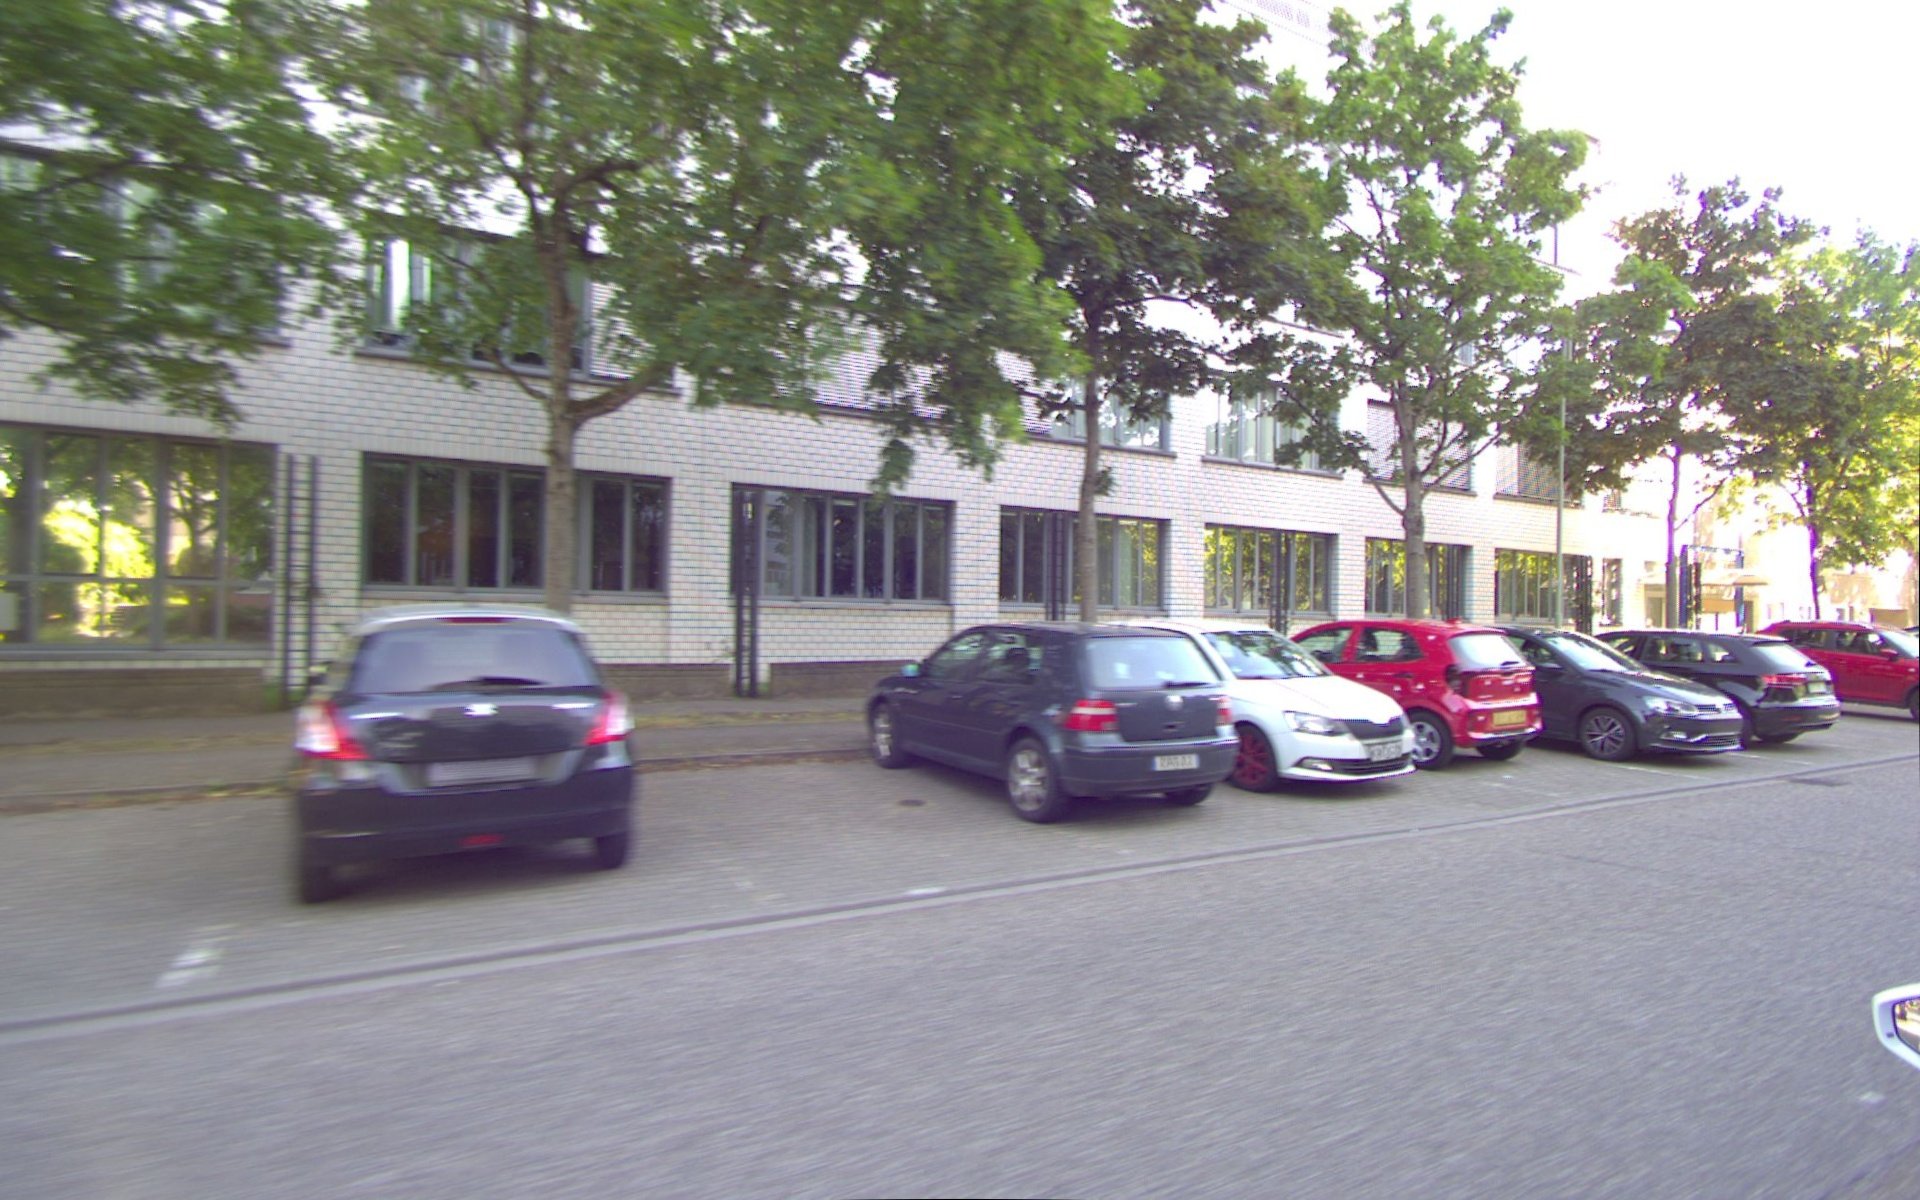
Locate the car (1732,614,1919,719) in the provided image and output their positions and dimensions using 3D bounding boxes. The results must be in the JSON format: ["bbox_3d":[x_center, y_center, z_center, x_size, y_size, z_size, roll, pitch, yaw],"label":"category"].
[{"bbox_3d":[15.780,1.112,17.333,1.739,1.679,3.527,2,-2,-27],"label":"car"}]

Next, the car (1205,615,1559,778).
[{"bbox_3d":[4.686,0.958,11.548,1.679,1.483,3.397,0,1,-34],"label":"car"}]

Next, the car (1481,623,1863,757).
[{"bbox_3d":[9.539,1.103,13.801,1.587,1.425,3.966,2,0,-31],"label":"car"}]

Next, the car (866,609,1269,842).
[{"bbox_3d":[0.681,0.868,8.693,1.611,1.464,3.746,2,0,-28],"label":"car"}]

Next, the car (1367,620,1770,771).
[{"bbox_3d":[7.272,1.035,12.430,1.646,1.431,3.967,2,0,-30],"label":"car"}]

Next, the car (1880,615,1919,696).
[{"bbox_3d":[22.106,1.213,20.972,1.689,1.742,3.968,1,-1,-30],"label":"car"}]

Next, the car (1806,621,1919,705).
[{"bbox_3d":[19.283,1.240,19.553,1.742,1.607,3.974,2,-3,-26],"label":"car"}]

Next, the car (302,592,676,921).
[{"bbox_3d":[-3.165,0.747,6.583,1.657,1.483,3.715,1,-1,-30],"label":"car"}]

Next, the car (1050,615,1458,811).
[{"bbox_3d":[2.755,0.947,10.236,1.735,1.476,3.845,0,1,-32],"label":"car"}]
